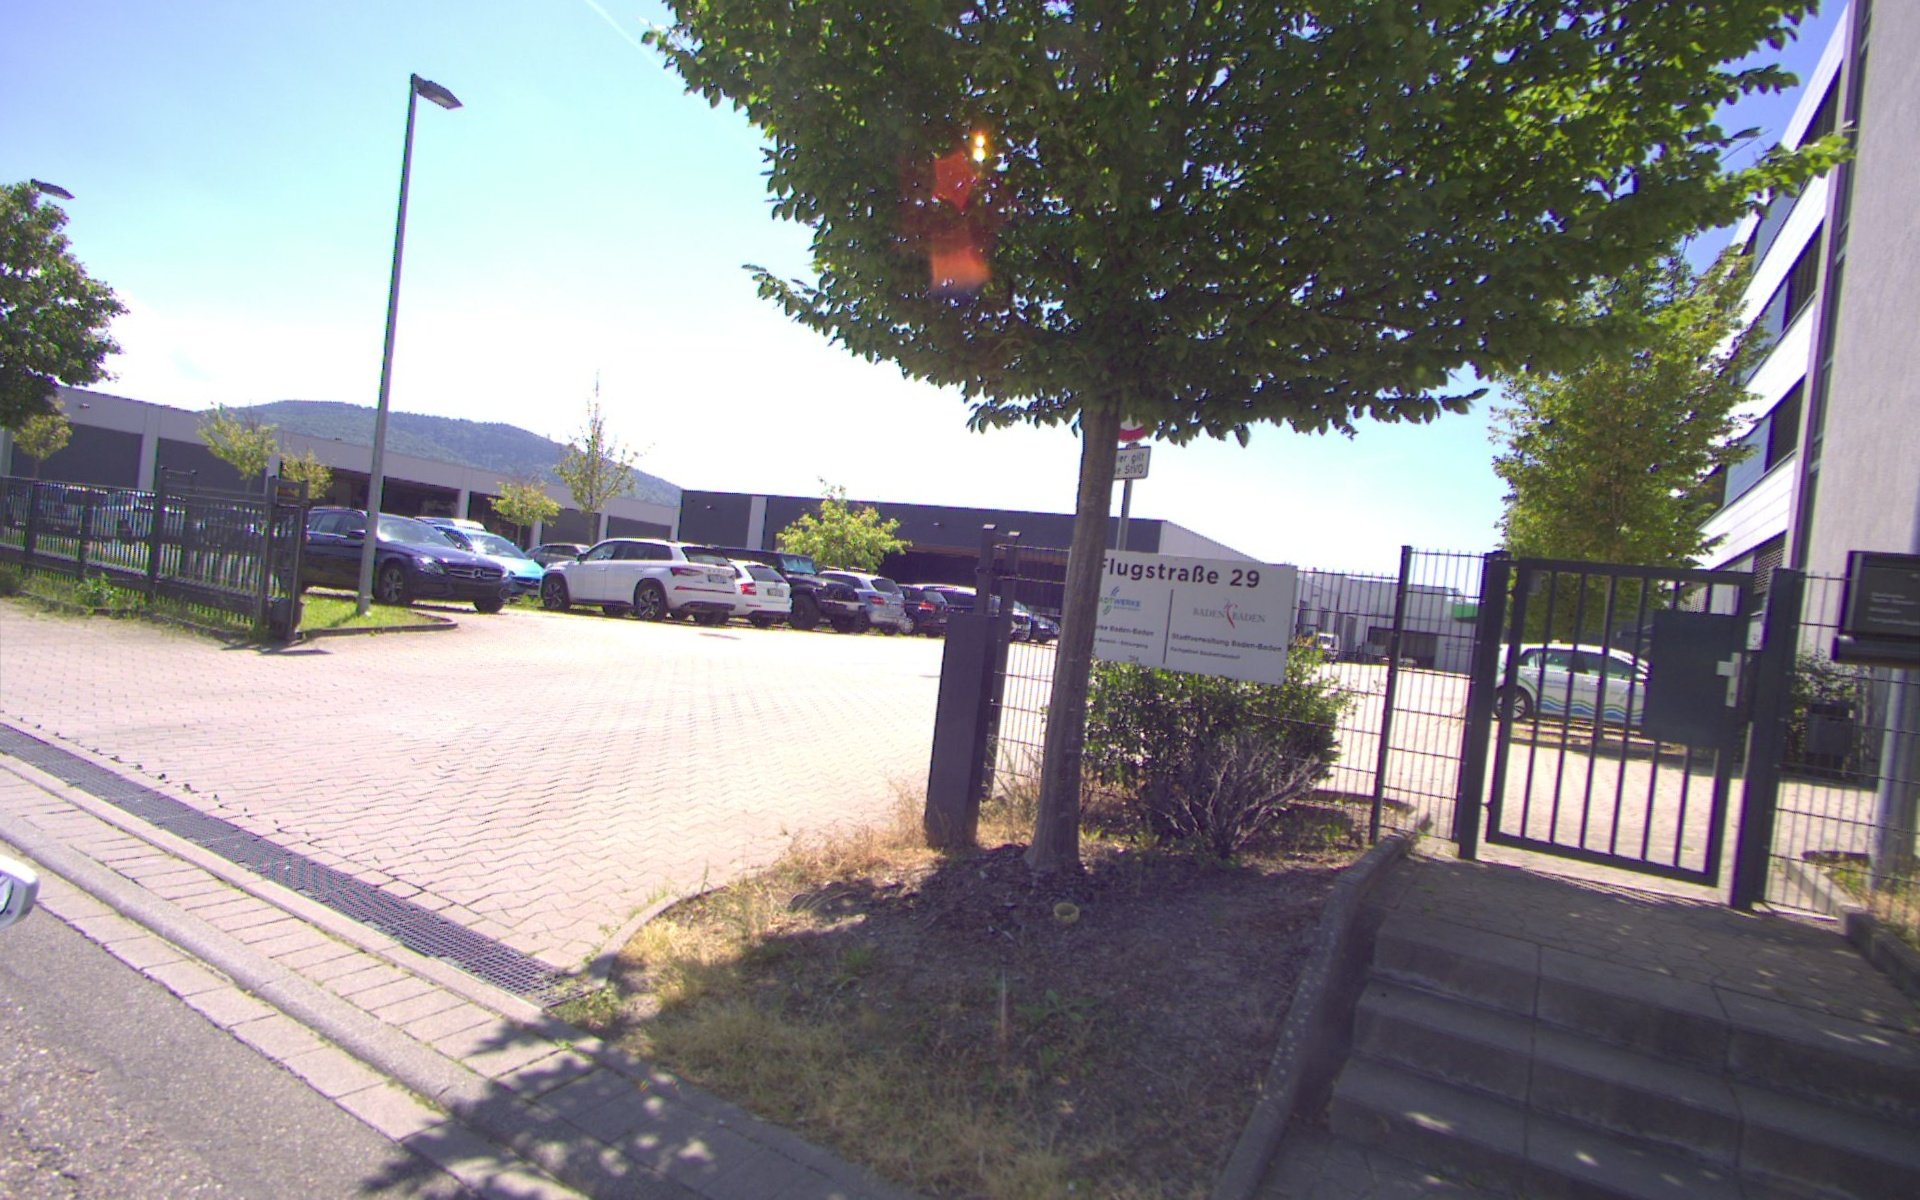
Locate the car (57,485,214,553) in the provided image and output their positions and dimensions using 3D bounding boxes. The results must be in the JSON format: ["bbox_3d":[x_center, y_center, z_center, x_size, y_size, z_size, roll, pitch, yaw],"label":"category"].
[{"bbox_3d":[-21.979,-2.158,26.784,4.072,1.450,1.792,4,-1,29],"label":"car"}]

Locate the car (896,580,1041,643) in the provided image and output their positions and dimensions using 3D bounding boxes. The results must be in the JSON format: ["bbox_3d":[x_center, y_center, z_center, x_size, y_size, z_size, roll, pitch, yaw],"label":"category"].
[{"bbox_3d":[0.269,0.391,34.215,4.455,1.735,1.915,4,-1,29],"label":"car"}]

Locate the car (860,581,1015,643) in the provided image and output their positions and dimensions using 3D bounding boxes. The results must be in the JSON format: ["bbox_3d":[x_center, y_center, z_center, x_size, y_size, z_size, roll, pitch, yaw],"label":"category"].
[{"bbox_3d":[-0.723,0.376,31.827,4.439,1.552,1.915,4,-1,29],"label":"car"}]

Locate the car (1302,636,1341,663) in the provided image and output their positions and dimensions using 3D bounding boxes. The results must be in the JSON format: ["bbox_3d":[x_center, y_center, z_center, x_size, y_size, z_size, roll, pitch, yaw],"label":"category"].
[{"bbox_3d":[27.588,3.788,76.704,1.891,1.716,4.103,7,0,31],"label":"car"}]

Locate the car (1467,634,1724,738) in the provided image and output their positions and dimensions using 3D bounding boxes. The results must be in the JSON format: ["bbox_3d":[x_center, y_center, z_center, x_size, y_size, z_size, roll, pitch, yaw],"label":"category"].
[{"bbox_3d":[12.843,1.690,20.552,4.155,1.548,1.806,5,0,33],"label":"car"}]

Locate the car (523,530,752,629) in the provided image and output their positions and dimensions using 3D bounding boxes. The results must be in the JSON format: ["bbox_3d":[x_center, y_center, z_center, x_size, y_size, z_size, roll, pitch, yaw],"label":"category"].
[{"bbox_3d":[-6.792,-0.452,21.112,4.571,1.673,1.843,4,-1,29],"label":"car"}]

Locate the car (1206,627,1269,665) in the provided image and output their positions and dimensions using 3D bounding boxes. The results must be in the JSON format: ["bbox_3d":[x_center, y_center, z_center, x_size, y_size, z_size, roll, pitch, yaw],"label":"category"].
[{"bbox_3d":[14.104,2.370,50.973,1.891,1.633,4.103,7,0,31],"label":"car"}]

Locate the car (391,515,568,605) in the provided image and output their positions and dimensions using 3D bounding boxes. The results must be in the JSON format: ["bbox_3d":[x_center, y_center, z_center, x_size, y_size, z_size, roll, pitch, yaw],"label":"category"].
[{"bbox_3d":[-11.344,-0.951,23.683,3.953,1.510,1.649,9,1,29],"label":"car"}]

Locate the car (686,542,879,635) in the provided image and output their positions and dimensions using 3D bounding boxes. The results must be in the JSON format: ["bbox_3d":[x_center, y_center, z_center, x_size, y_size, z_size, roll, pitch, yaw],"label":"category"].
[{"bbox_3d":[-4.489,-0.305,25.305,4.439,1.923,1.915,4,-1,29],"label":"car"}]

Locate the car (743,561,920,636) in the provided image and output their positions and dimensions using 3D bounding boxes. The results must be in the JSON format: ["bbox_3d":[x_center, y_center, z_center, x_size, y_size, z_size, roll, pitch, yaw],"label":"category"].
[{"bbox_3d":[-3.531,-0.052,27.551,4.439,1.642,1.915,4,-1,29],"label":"car"}]

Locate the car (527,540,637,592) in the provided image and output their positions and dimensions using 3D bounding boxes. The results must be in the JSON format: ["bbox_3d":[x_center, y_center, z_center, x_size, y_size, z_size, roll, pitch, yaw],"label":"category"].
[{"bbox_3d":[-14.963,-1.350,39.815,4.030,1.703,1.792,4,-1,29],"label":"car"}]

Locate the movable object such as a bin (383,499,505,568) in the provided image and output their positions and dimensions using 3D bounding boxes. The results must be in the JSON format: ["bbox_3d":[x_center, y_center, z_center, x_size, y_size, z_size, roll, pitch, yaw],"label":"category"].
[{"bbox_3d":[-37.576,-4.857,73.196,8.519,4.024,3.546,7,1,30],"label":"movable object such as a bin"}]

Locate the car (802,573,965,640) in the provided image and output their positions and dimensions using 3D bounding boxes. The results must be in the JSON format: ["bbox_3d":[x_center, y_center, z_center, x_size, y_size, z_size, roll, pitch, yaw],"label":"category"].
[{"bbox_3d":[-2.295,0.186,29.987,4.439,1.552,1.915,4,-1,29],"label":"car"}]

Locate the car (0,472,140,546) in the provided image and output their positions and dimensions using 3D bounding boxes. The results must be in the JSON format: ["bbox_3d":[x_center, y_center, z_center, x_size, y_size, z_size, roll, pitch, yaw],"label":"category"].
[{"bbox_3d":[-26.246,-2.691,29.546,4.345,1.550,1.792,9,1,29],"label":"car"}]

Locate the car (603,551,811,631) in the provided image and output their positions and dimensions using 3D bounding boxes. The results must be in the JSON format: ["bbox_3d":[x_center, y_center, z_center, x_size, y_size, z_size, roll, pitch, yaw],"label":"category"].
[{"bbox_3d":[-5.918,-0.225,23.400,4.571,1.450,1.843,4,-1,29],"label":"car"}]

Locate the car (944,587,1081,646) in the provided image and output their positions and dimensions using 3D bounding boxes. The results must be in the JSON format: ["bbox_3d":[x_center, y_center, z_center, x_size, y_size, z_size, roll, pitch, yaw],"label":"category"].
[{"bbox_3d":[1.874,0.591,36.381,4.455,1.735,1.915,4,-1,29],"label":"car"}]

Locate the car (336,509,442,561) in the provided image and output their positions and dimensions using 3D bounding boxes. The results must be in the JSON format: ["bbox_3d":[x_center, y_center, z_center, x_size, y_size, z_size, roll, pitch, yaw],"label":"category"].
[{"bbox_3d":[-28.907,-3.317,50.851,5.560,2.291,1.884,4,-1,28],"label":"car"}]

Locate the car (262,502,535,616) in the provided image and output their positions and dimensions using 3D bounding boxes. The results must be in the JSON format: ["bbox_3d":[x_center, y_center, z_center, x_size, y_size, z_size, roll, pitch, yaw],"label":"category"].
[{"bbox_3d":[-9.196,-0.682,16.406,4.335,1.472,1.793,4,-1,29],"label":"car"}]

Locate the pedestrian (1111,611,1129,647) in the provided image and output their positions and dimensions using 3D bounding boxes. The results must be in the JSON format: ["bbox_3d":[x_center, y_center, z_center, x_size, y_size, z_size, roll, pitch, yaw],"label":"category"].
[{"bbox_3d":[7.939,1.429,49.933,0.538,1.741,0.447,7,1,31],"label":"pedestrian"}]

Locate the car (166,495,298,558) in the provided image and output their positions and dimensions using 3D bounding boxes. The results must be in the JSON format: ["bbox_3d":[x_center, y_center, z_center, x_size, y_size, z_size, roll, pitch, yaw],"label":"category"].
[{"bbox_3d":[-24.283,-2.459,33.523,4.345,1.500,1.792,9,1,29],"label":"car"}]

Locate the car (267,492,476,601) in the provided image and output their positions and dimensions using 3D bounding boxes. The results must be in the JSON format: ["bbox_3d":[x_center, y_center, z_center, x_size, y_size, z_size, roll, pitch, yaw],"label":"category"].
[{"bbox_3d":[-12.387,-1.135,21.150,4.168,1.643,1.793,9,1,29],"label":"car"}]

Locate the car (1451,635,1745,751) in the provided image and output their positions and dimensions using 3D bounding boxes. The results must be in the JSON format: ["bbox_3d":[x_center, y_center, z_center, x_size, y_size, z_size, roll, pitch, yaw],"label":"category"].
[{"bbox_3d":[11.311,1.595,18.098,4.155,1.479,1.806,5,0,33],"label":"car"}]

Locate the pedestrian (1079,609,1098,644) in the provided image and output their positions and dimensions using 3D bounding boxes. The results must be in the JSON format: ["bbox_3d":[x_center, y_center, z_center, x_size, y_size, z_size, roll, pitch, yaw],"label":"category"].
[{"bbox_3d":[6.576,1.359,51.356,0.510,1.679,0.702,7,1,36],"label":"pedestrian"}]

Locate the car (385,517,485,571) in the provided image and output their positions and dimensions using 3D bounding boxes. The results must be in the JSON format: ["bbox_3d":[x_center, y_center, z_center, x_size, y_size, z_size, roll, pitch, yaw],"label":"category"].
[{"bbox_3d":[-27.905,-3.006,53.435,5.412,2.508,1.884,4,-1,28],"label":"car"}]

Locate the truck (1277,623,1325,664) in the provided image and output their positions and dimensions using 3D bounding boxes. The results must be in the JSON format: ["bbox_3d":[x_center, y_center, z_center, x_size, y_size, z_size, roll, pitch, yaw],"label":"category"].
[{"bbox_3d":[23.957,3.082,70.518,1.966,2.589,5.227,7,0,30],"label":"truck"}]
